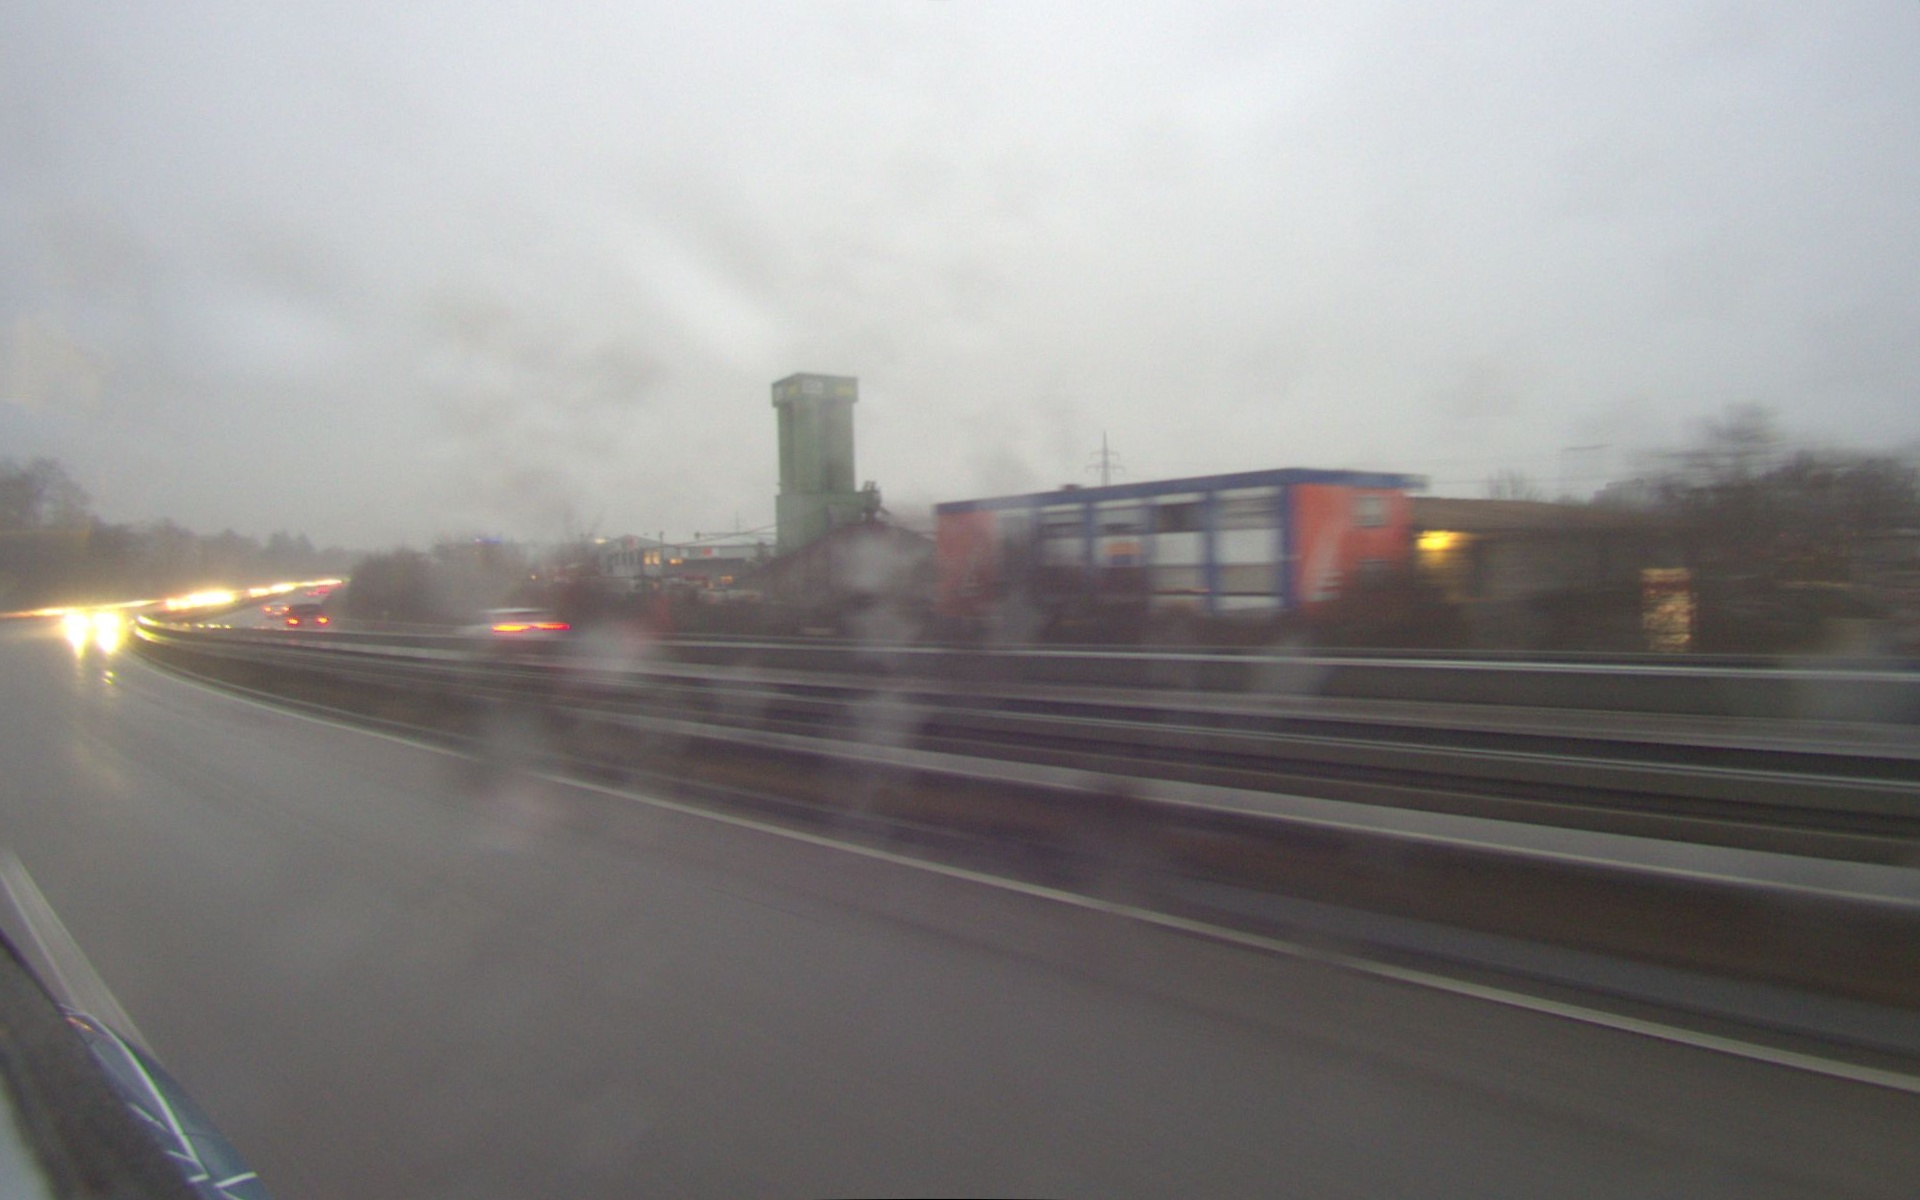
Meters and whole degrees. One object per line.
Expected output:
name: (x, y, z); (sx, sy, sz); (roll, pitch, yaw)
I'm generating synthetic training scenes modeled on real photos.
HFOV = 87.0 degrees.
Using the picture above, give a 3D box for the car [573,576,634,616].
car: (-30.776, -0.271, 87.081); (3.148, 3.235, 9.969); (1, -1, -30)

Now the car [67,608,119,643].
car: (-56.698, 1.641, 66.222); (1.967, 2.028, 4.011); (-4, 2, -33)

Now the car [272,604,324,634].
car: (-39.224, 1.115, 59.947); (1.969, 1.685, 4.434); (0, -1, -42)

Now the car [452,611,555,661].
car: (-14.333, 1.082, 31.662); (1.652, 1.431, 4.084); (0, -1, -45)

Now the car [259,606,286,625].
car: (-65.206, 1.455, 95.990); (1.771, 1.696, 4.698); (0, 0, -38)
